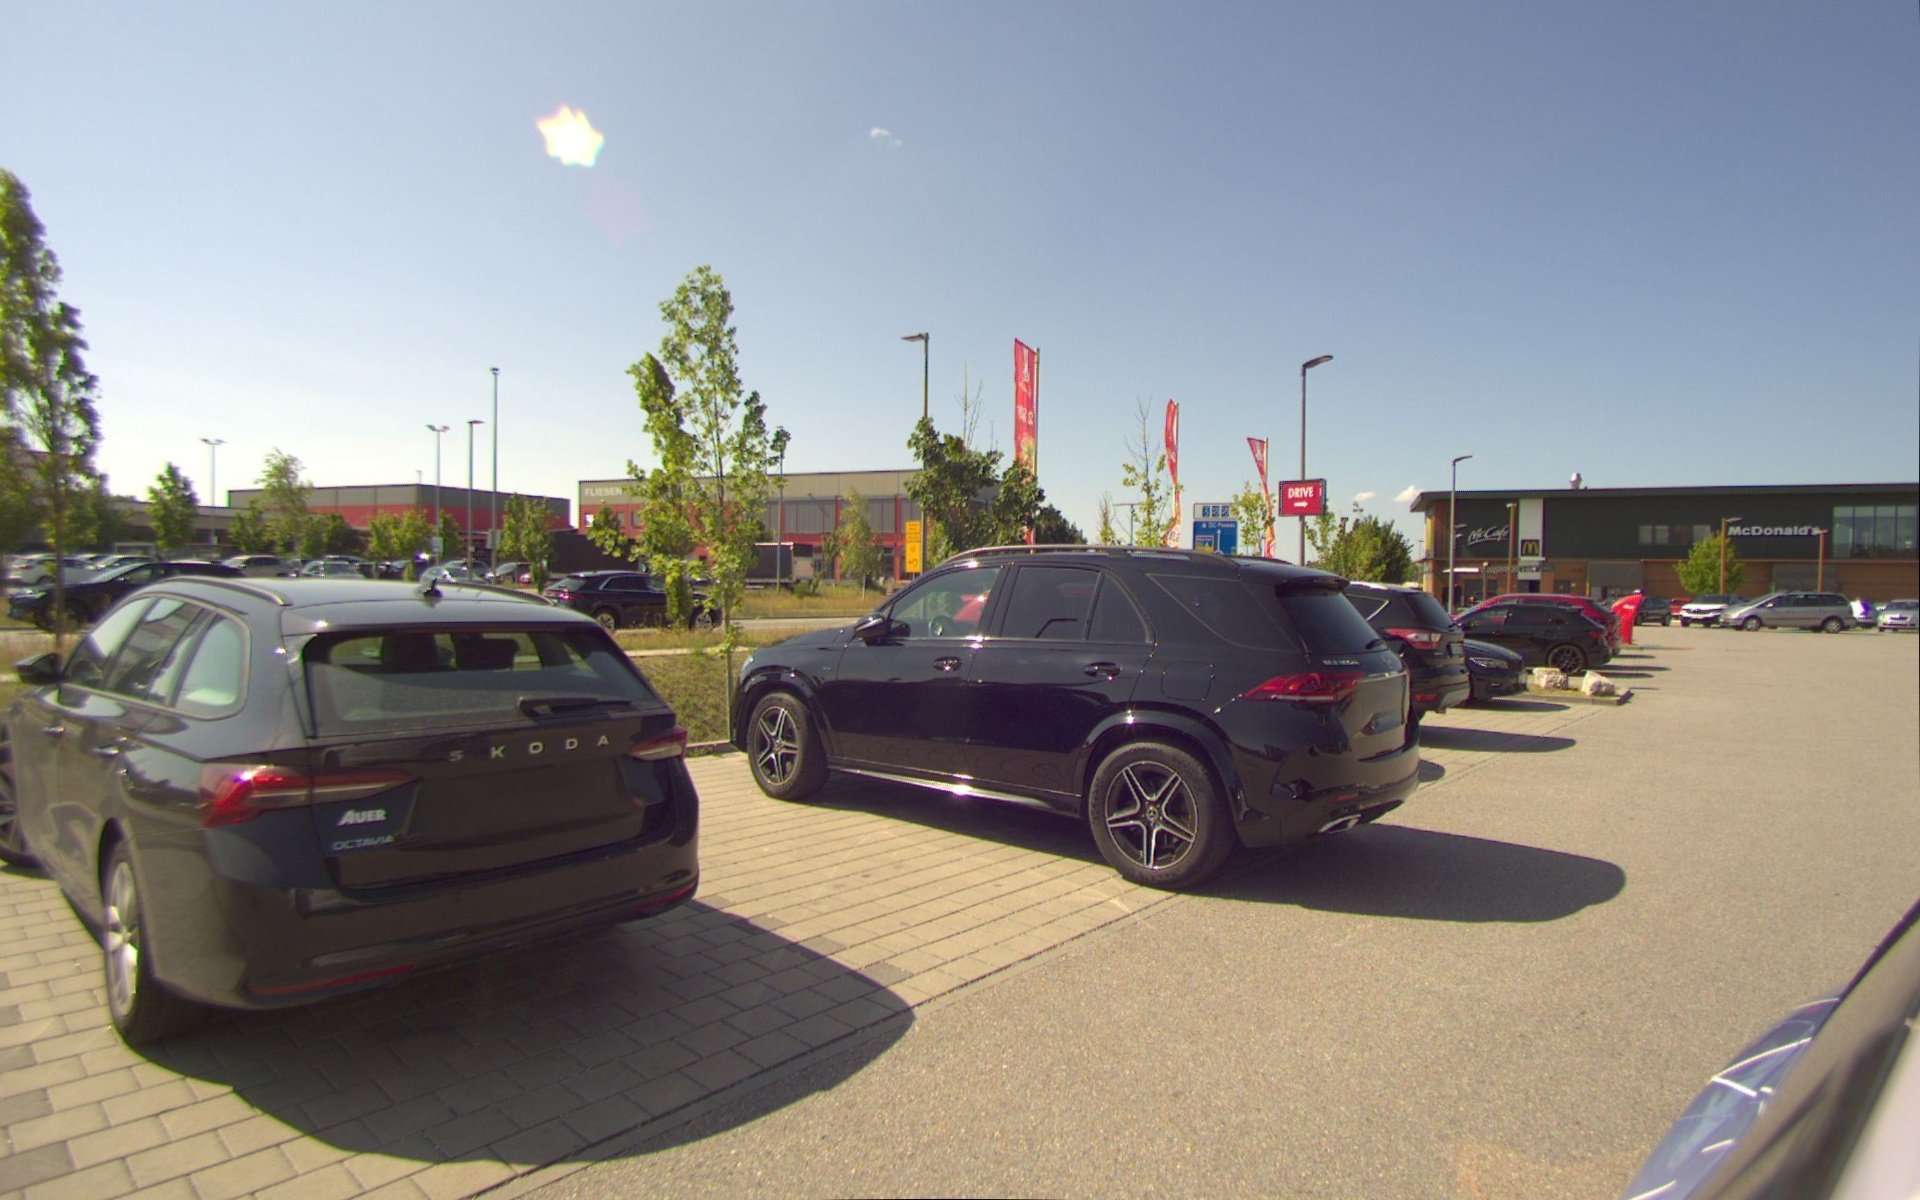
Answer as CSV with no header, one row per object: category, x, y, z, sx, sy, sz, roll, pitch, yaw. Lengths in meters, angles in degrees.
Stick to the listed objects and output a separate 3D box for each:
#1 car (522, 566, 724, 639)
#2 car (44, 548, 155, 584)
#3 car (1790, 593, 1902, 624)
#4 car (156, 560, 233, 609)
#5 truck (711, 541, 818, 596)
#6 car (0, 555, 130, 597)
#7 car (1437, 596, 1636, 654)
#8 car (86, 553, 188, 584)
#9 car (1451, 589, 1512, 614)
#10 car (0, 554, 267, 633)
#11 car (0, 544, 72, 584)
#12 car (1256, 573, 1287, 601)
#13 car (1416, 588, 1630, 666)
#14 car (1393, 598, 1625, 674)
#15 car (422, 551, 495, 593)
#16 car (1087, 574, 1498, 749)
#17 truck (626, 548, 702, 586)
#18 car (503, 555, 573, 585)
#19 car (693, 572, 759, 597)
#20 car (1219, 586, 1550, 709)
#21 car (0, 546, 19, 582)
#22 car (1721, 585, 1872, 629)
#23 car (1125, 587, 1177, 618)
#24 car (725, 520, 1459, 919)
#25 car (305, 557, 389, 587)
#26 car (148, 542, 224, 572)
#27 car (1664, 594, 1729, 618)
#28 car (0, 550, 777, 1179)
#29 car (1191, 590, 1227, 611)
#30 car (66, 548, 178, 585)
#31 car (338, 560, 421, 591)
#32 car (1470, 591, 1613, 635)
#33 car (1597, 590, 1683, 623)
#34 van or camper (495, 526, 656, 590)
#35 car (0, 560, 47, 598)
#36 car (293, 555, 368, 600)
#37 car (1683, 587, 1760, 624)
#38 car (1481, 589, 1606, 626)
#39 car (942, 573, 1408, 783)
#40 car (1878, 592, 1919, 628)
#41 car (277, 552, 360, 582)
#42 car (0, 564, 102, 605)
car,-8.735,0.049,26.574,1.991,1.754,4.691,1,0,39
car,-48.410,-1.871,57.019,1.932,1.879,4.373,1,0,21
car,46.526,0.426,53.271,1.676,1.511,4.123,0,1,-22
car,-31.098,-0.633,41.068,1.967,1.879,4.275,1,0,-44
truck,-13.088,-2.095,67.583,6.768,3.524,2.742,1,0,28
car,-41.876,-1.086,47.333,1.932,1.879,4.373,1,0,21
car,15.545,0.626,27.499,4.563,1.431,1.722,0,0,31
car,-54.165,-2.059,66.726,1.932,1.879,4.915,1,0,21
car,37.330,0.093,72.463,4.152,1.712,1.999,1,1,-32
car,-19.383,-0.147,23.787,1.989,1.645,4.741,1,0,37
car,-46.582,-1.773,49.484,1.932,1.879,4.373,1,0,21
car,26.006,-1.041,84.307,1.977,2.224,5.067,1,0,22
car,13.025,0.559,23.497,4.203,1.658,1.927,0,0,35
car,11.540,0.689,21.419,4.174,1.428,1.753,0,0,33
car,-24.349,-1.341,49.051,1.923,1.879,4.393,1,0,-44
car,3.817,0.584,12.085,4.315,1.724,1.867,0,0,42
truck,-23.380,-2.566,80.249,1.932,2.850,7.007,1,0,21
car,-27.851,-1.969,66.985,1.848,1.879,4.237,1,0,21
car,-14.711,-0.970,63.550,3.928,1.478,1.640,1,0,27
car,6.512,0.616,15.824,4.433,1.658,1.867,0,0,42
car,-51.680,-1.886,52.054,1.932,1.879,4.373,1,0,21
car,35.968,0.251,43.671,4.627,1.770,1.820,1,1,22
car,11.483,0.134,60.640,2.007,1.739,4.264,1,0,25
car,0.607,0.512,6.711,4.568,1.783,1.868,0,0,40
car,-39.768,-1.793,65.776,1.932,1.879,4.373,1,0,21
car,-56.607,-3.091,74.104,1.979,2.039,3.966,1,0,24
car,48.796,0.383,67.010,4.379,1.484,1.964,1,0,-32
car,-2.993,0.577,4.564,4.434,1.505,1.850,2,1,40
car,19.409,0.022,78.724,1.979,1.546,4.618,1,0,24
car,-46.304,-1.825,56.027,1.932,1.879,4.373,1,0,21
car,-37.038,-1.553,64.661,1.932,1.879,4.373,1,0,21
car,20.550,0.440,35.977,4.314,1.487,1.815,0,0,29
car,33.418,0.306,49.722,4.123,1.545,1.977,1,0,-31
van or camper,-20.991,-2.209,55.523,7.901,3.141,2.419,1,0,-35
car,-49.140,-1.067,50.916,1.932,1.879,4.373,1,0,21
car,-28.036,-0.986,44.987,1.923,1.879,4.393,1,0,-44
car,36.465,0.275,48.452,4.131,1.675,1.974,1,0,-39
car,24.372,0.289,42.429,4.441,1.487,1.815,0,0,29
car,1.986,0.600,9.836,4.057,1.629,1.870,0,0,37
car,43.166,0.442,45.633,4.131,1.545,1.974,1,0,-39
car,-42.175,-2.139,66.633,1.932,1.879,4.373,1,0,21
car,-44.251,-0.733,48.531,1.932,1.879,4.373,1,0,21
